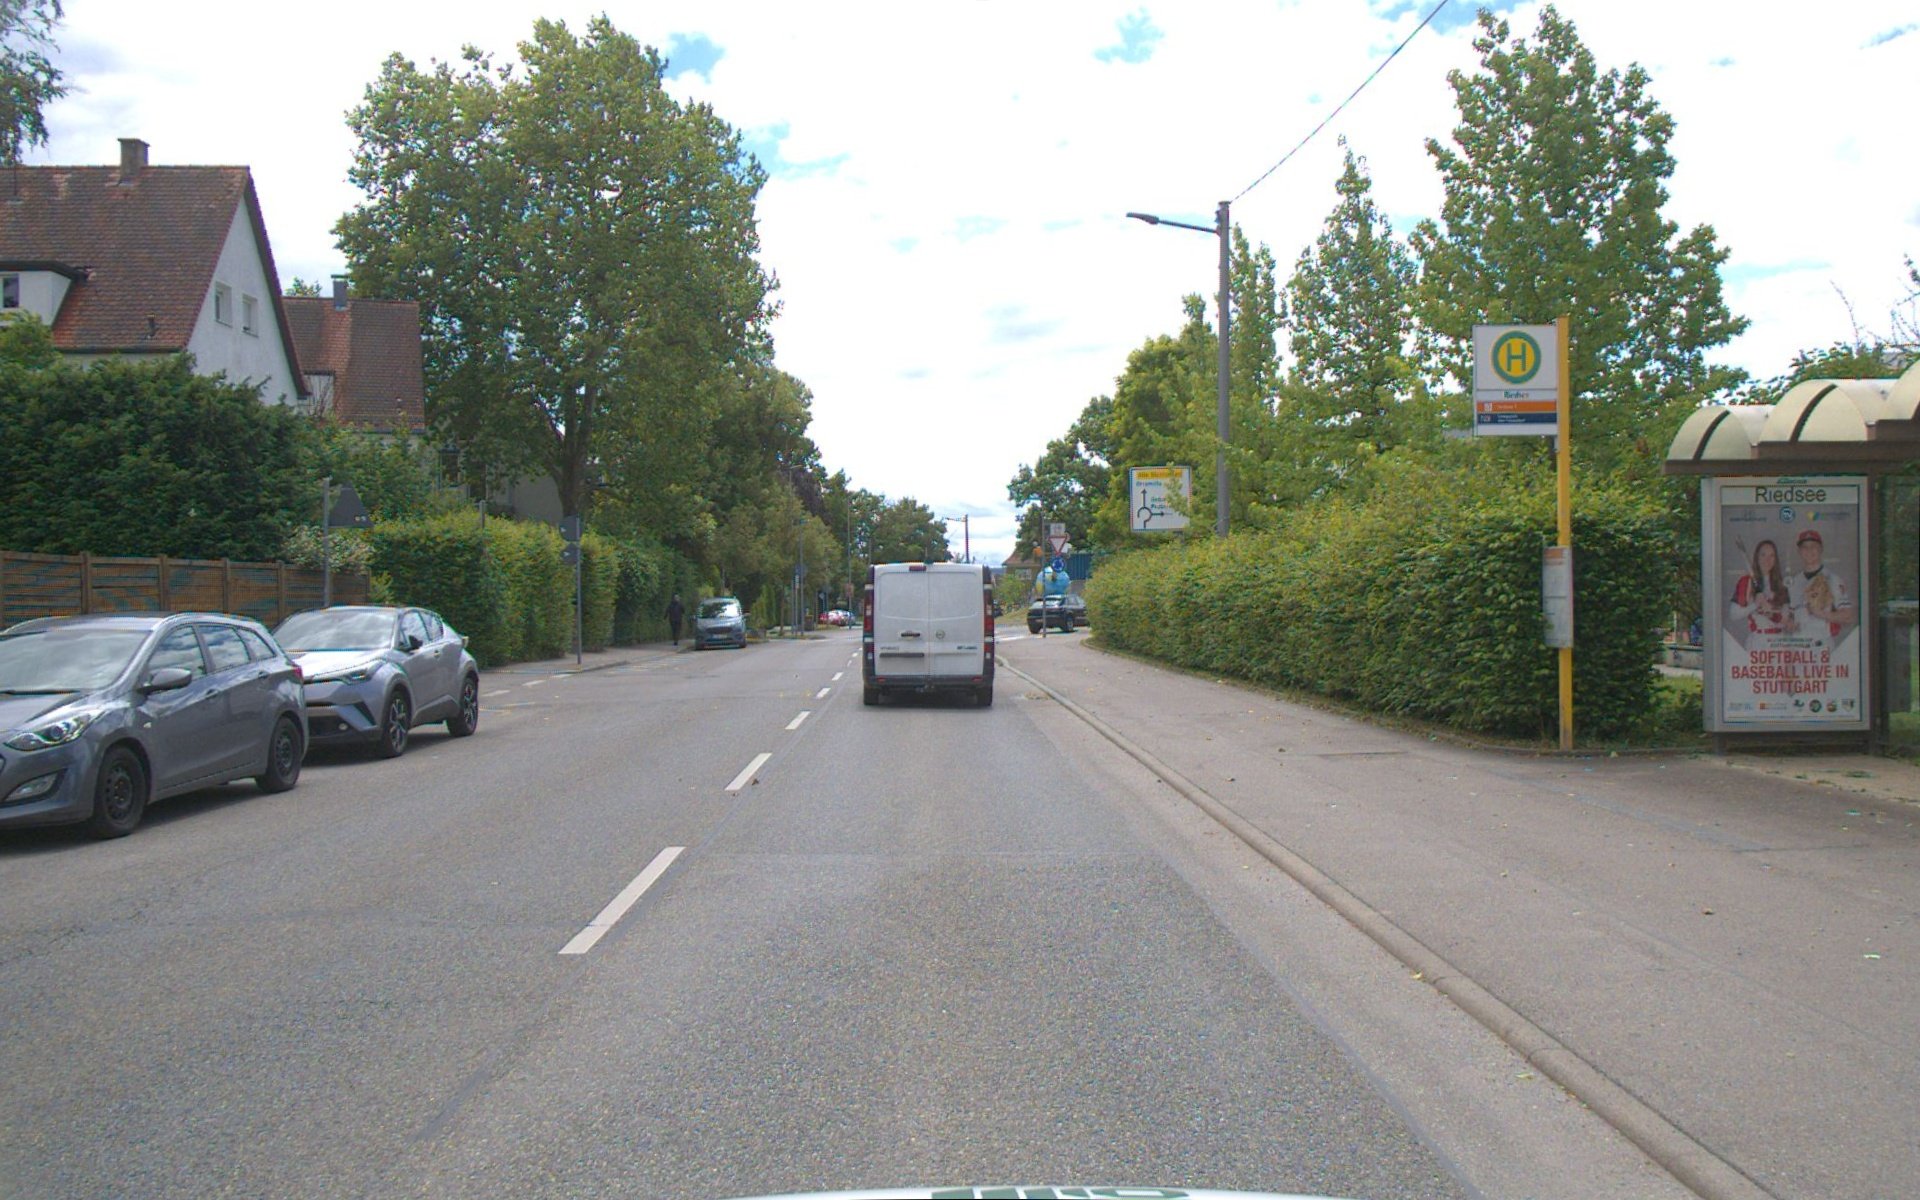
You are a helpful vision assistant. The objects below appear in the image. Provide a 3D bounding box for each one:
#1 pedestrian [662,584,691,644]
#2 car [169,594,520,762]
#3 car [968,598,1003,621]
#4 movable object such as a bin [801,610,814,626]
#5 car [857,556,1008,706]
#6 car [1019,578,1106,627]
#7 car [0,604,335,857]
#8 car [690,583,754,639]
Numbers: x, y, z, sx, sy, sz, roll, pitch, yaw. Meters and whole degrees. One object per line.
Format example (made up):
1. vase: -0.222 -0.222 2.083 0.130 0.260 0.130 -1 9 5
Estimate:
1. pedestrian: -9.938 0.468 57.971 0.855 2.049 1.039 -2 0 -6
2. car: -6.483 0.737 18.079 1.952 1.505 4.648 -2 0 1
3. car: 1.813 0.664 120.540 1.897 1.564 3.917 -1 1 -9
4. movable object such as a bin: -9.148 1.079 99.285 0.616 0.878 0.641 -3 0 9
5. car: -0.424 0.390 24.577 1.993 1.979 4.992 1 1 -1
6. car: 4.490 0.087 71.935 1.960 2.049 3.984 1 1 36
7. car: -6.418 0.806 12.224 1.828 1.484 4.489 -1 0 0
8. car: -8.188 0.342 56.867 2.092 1.803 4.456 1 1 -8
